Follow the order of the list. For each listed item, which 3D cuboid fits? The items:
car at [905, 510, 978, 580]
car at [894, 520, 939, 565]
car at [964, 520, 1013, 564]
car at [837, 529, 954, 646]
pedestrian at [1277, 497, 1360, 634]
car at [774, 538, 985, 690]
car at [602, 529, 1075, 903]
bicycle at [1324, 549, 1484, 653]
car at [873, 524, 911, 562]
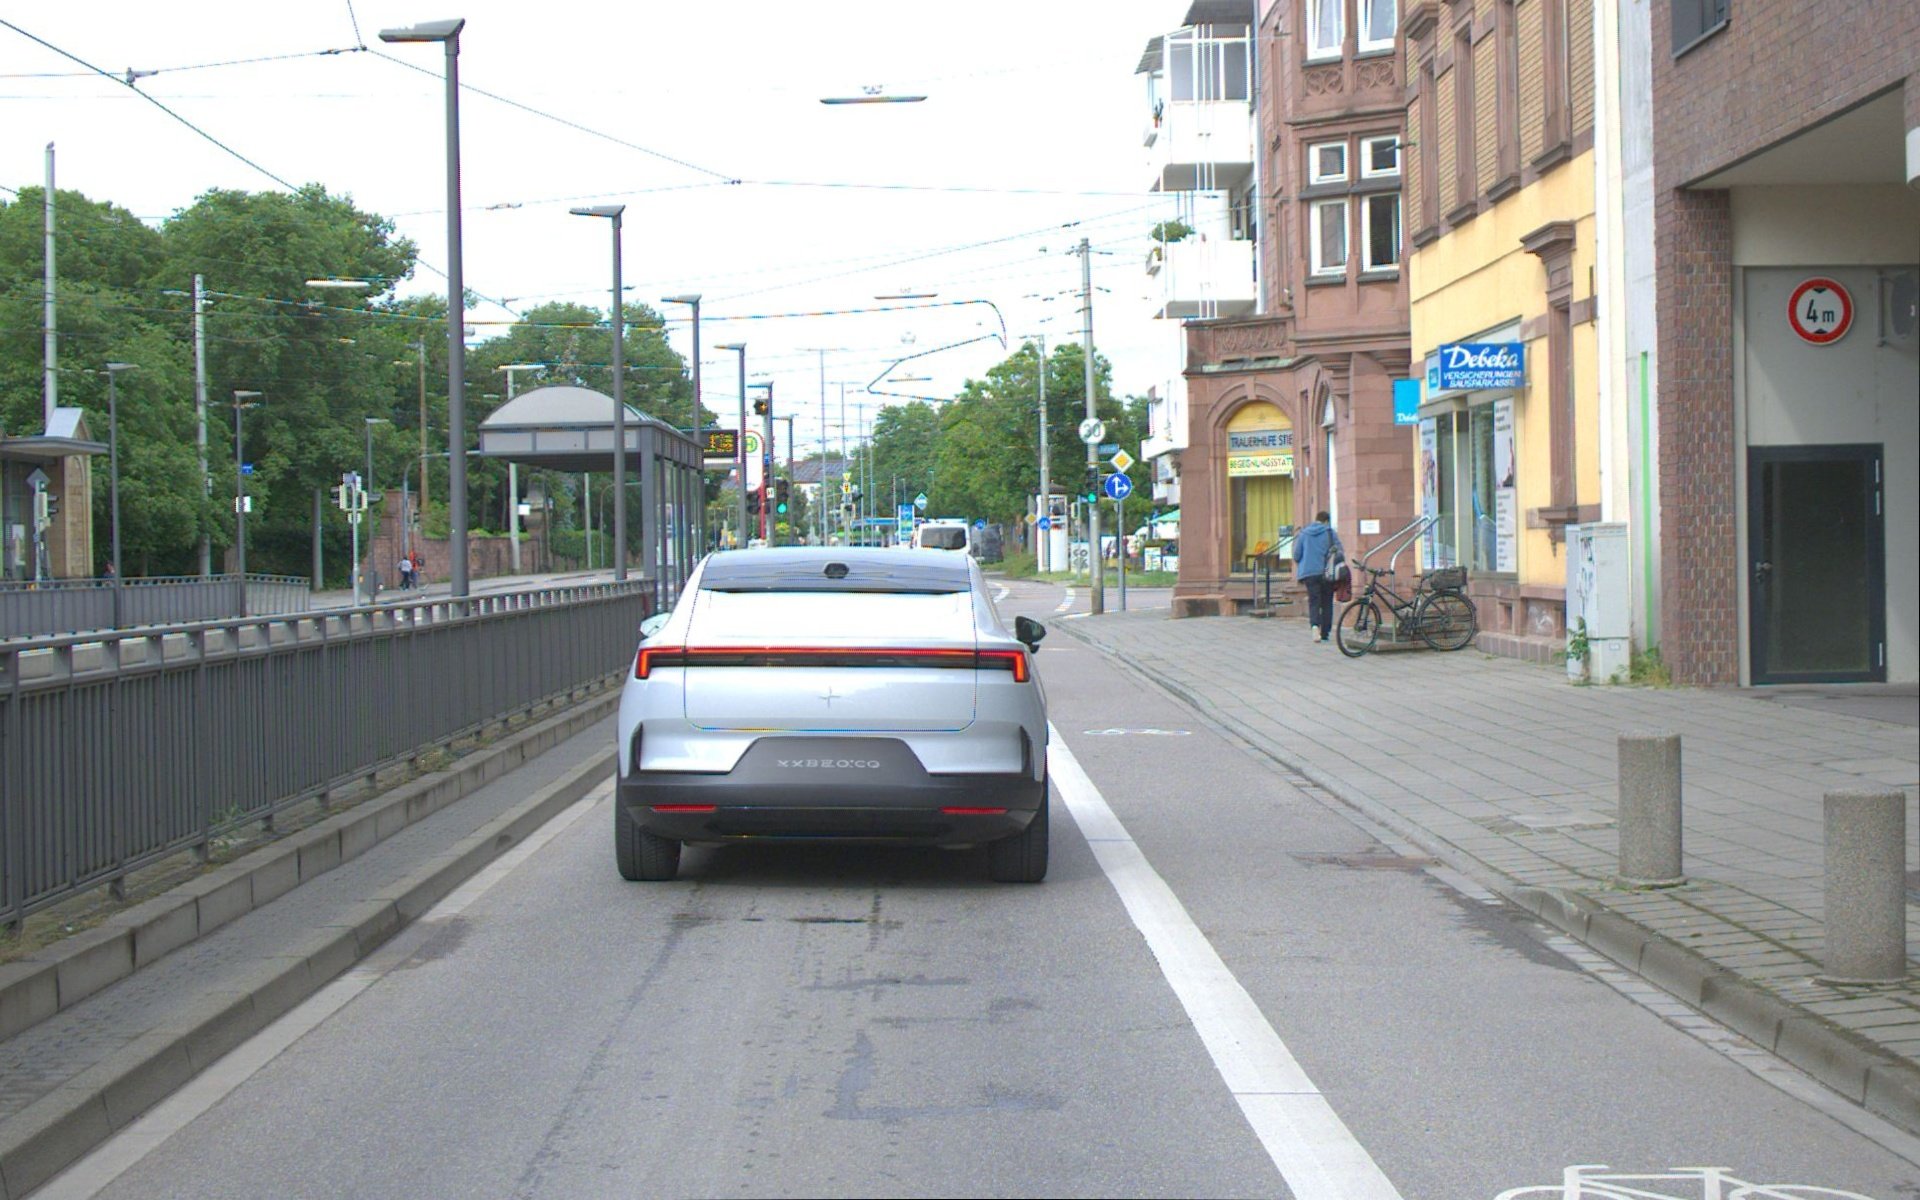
[{"bbox_3d":[-0.663,-1.897,119.598,2.225,2.394,5.124,0,0,-4],"label":"car"},{"bbox_3d":[-1.990,-2.612,156.254,1.993,2.007,4.000,-1,1,-1],"label":"car"},{"bbox_3d":[1.653,-3.385,200.727,2.807,2.496,5.722,0,0,0],"label":"car"},{"bbox_3d":[-0.938,-0.194,51.388,1.681,1.682,3.824,0,0,0],"label":"car"},{"bbox_3d":[4.998,-0.496,47.953,0.961,1.843,0.975,-3,2,0],"label":"pedestrian"},{"bbox_3d":[-0.835,0.102,35.003,1.993,1.415,4.000,-1,1,-2],"label":"car"},{"bbox_3d":[-0.682,0.479,16.550,1.999,1.575,4.001,0,0,-5],"label":"car"},{"bbox_3d":[5.321,0.006,41.242,1.777,1.126,0.642,-3,1,-1],"label":"bicycle"},{"bbox_3d":[-3.625,-3.064,184.641,1.993,2.007,4.000,-1,1,-1],"label":"car"}]
